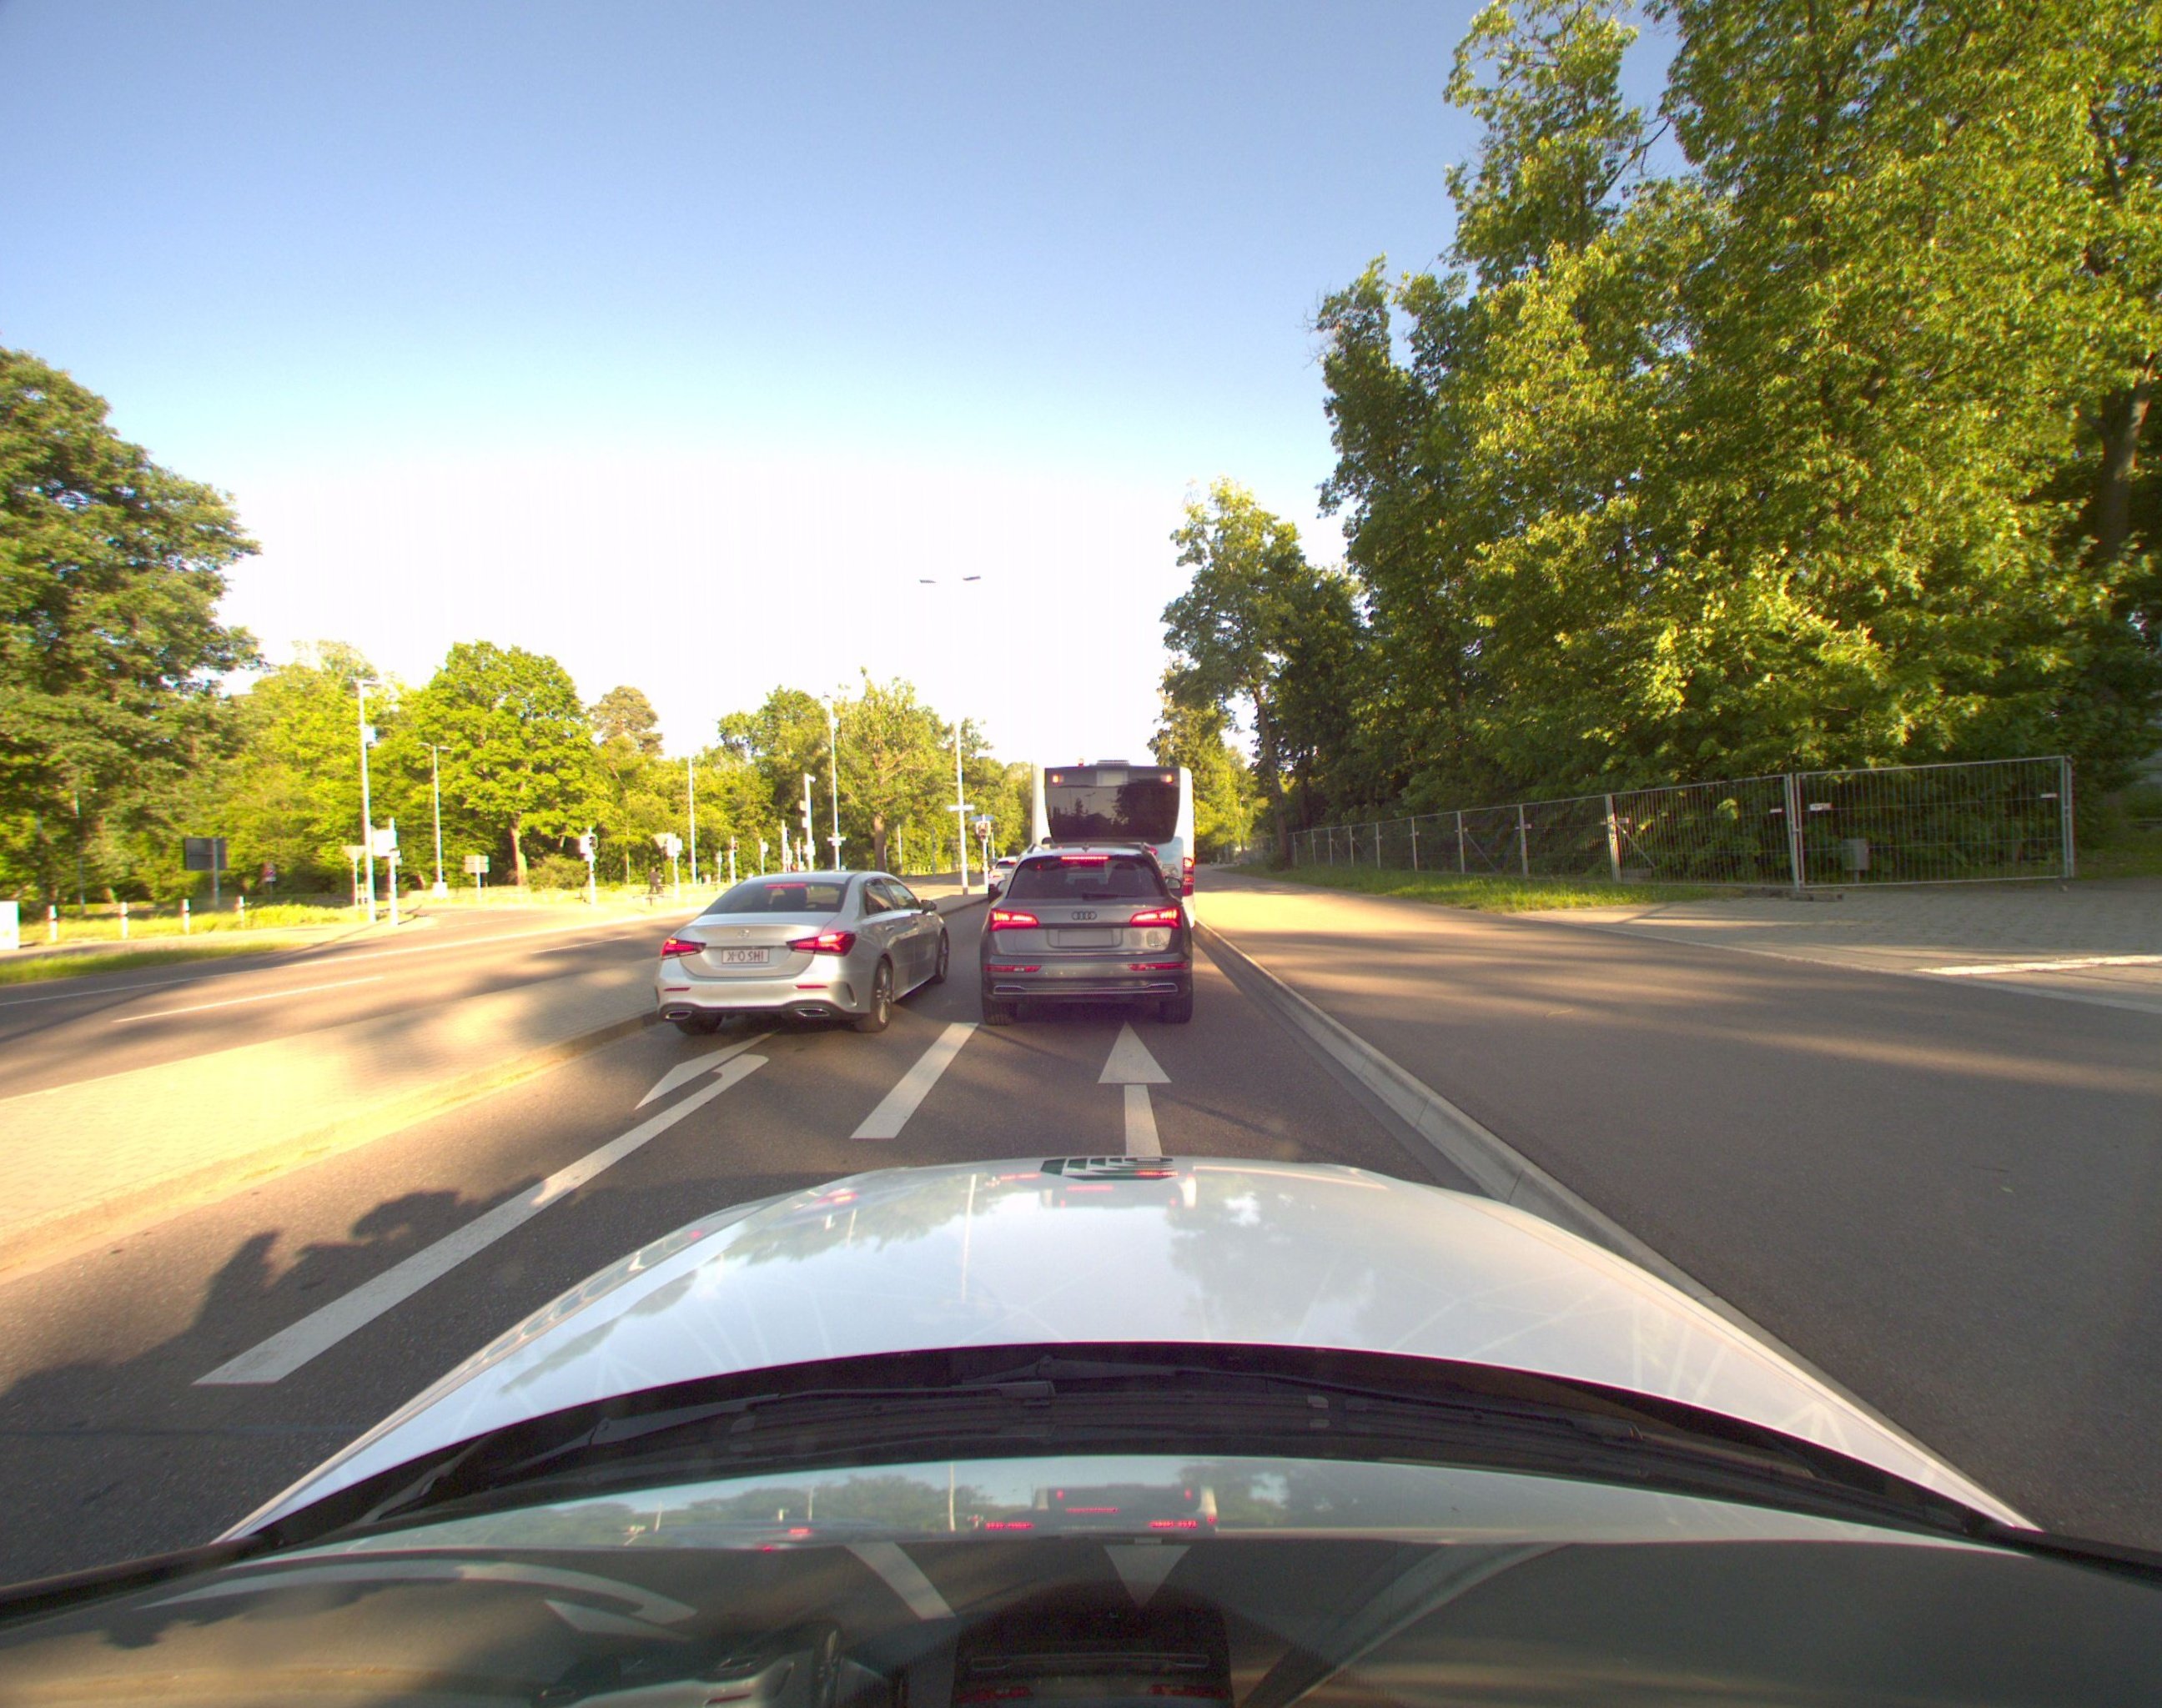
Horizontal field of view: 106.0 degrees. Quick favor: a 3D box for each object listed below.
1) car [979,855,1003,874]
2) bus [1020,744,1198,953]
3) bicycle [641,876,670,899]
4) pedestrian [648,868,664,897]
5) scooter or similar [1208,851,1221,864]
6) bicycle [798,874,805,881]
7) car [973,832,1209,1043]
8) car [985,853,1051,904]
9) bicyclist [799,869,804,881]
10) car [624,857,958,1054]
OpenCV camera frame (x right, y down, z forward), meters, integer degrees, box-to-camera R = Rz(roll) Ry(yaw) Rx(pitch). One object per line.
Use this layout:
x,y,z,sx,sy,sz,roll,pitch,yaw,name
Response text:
-8.553,0.949,77.786,1.990,1.662,3.995,-3,0,-4,car
0.584,-0.109,15.274,2.667,3.142,5.887,0,0,3,bus
-22.686,1.763,43.455,0.466,1.178,2.005,0,-1,2,bicycle
-22.687,1.514,43.509,0.480,1.562,0.649,0,-1,2,pedestrian
12.805,0.333,77.837,1.175,1.174,0.661,0,0,13,scooter or similar
-22.246,1.877,64.855,0.266,0.581,0.838,0,-1,-4,bicycle
0.142,0.646,8.471,1.861,1.663,4.002,0,0,2,car
-2.064,0.780,27.725,1.801,1.572,4.002,0,1,2,car
-22.242,1.642,64.815,0.272,0.963,0.240,0,-1,-4,bicyclist
-2.557,0.793,8.409,1.778,1.444,4.280,0,1,2,car
